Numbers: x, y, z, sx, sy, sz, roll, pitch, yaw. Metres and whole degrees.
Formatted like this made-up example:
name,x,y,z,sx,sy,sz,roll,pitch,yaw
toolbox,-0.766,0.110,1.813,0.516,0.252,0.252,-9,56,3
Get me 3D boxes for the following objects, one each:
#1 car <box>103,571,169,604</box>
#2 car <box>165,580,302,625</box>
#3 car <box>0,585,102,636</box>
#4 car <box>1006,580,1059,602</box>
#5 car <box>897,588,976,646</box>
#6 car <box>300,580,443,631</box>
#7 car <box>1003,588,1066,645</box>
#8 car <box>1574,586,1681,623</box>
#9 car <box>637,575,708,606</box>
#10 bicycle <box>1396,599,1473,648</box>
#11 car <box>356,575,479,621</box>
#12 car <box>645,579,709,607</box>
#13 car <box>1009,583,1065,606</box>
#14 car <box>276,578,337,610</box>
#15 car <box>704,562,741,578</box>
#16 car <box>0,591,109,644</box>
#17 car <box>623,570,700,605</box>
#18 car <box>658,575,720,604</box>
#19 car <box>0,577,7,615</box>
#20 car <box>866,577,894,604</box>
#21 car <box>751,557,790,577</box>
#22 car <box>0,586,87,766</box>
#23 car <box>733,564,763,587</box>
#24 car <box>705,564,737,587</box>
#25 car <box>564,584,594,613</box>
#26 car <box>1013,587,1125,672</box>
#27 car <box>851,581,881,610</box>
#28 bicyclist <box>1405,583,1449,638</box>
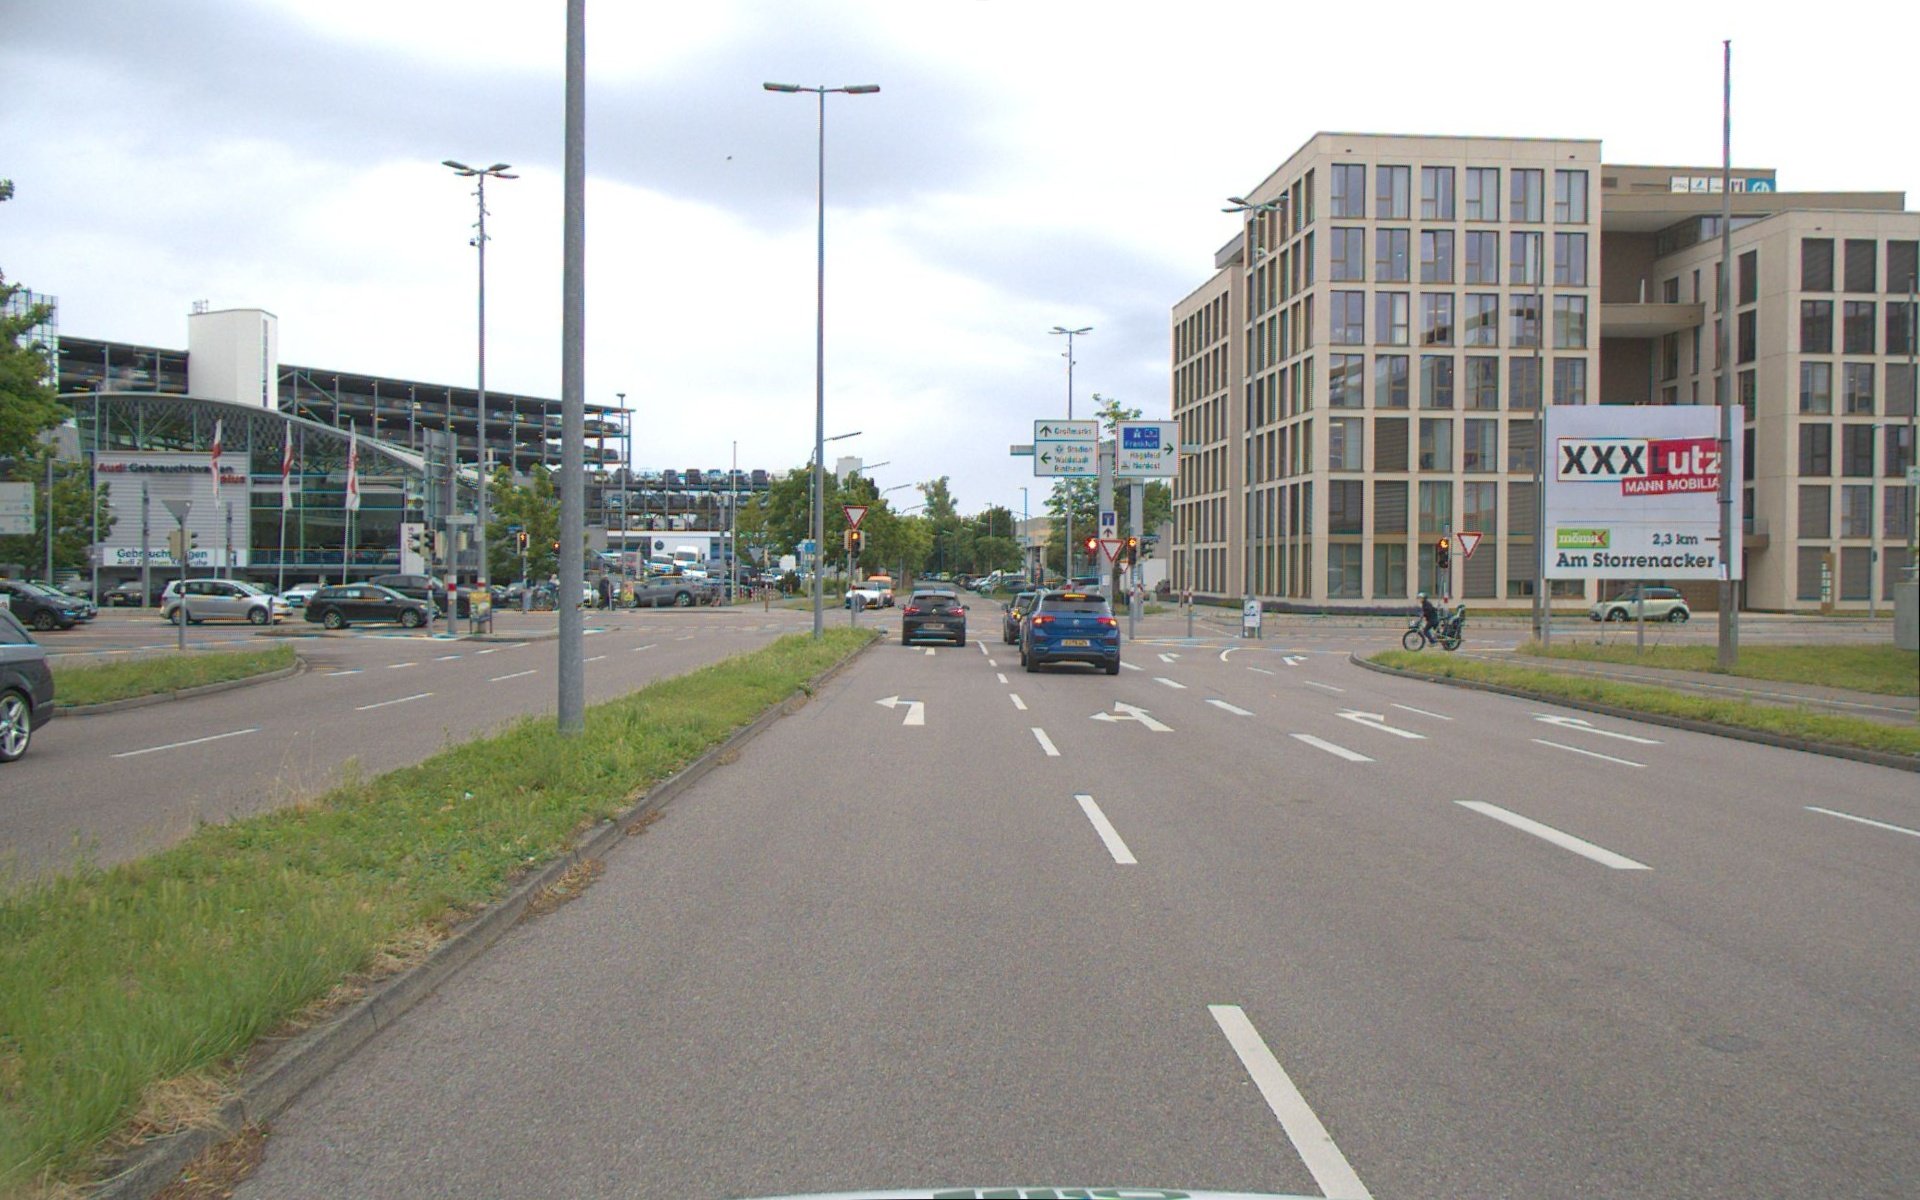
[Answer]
name,x,y,z,sx,sy,sz,roll,pitch,yaw
car,-40.408,-0.626,81.176,1.566,1.511,3.535,1,2,-2
car,-26.397,0.074,60.244,4.169,1.535,1.997,0,2,-8
car,-32.033,0.348,56.396,4.458,1.688,1.996,-1,1,-8
car,5.257,-0.659,120.102,3.528,1.504,1.761,1,2,19
car,-0.679,0.420,44.789,1.948,1.453,4.238,1,0,-3
car,-20.435,0.177,57.561,4.334,1.689,1.996,1,0,-8
car,2.067,0.438,46.718,1.494,1.457,3.389,1,1,-2
car,29.820,0.185,73.944,4.107,1.516,1.694,1,2,-1
car,-15.715,-0.512,90.503,3.749,1.617,1.680,0,2,-6
bicycle,13.382,0.654,46.690,1.977,1.318,0.697,2,1,45
car,-21.019,-0.086,64.227,4.324,1.672,1.995,0,2,-12
car,-16.283,-0.422,95.200,3.536,1.502,1.547,0,2,-6
car,5.323,-0.394,114.293,3.527,1.504,1.761,1,2,17
car,-32.372,-0.324,81.982,1.684,1.425,3.535,1,2,-2
car,-23.467,-2.944,163.253,3.594,1.555,1.612,0,2,-9
car,-33.210,0.635,59.645,3.911,1.690,1.998,-3,2,-7
car,-15.894,-0.672,88.325,3.910,1.821,1.845,0,2,-6
car,-16.209,-0.639,99.009,3.536,1.696,1.547,0,2,-6
car,-42.990,-0.159,70.338,3.869,1.595,1.757,0,2,-9
car,-4.852,-0.594,100.642,1.568,1.478,3.324,1,2,-1
car,-16.289,-2.830,142.445,3.231,1.669,1.479,0,2,-5
car,-8.934,0.668,12.944,1.754,1.505,4.532,-1,1,0
car,-16.945,-1.955,132.302,1.739,1.735,3.919,1,2,3
car,-19.089,-1.974,132.197,1.739,1.735,3.919,1,2,3
car,-19.218,-0.081,83.286,1.348,1.349,3.022,0,2,-15
car,2.074,0.530,32.383,1.798,1.541,3.999,1,0,-2
car,-5.247,-0.255,92.488,1.568,1.478,3.324,1,2,-1
bicyclist,13.222,0.291,46.845,0.983,1.530,0.697,2,1,45
